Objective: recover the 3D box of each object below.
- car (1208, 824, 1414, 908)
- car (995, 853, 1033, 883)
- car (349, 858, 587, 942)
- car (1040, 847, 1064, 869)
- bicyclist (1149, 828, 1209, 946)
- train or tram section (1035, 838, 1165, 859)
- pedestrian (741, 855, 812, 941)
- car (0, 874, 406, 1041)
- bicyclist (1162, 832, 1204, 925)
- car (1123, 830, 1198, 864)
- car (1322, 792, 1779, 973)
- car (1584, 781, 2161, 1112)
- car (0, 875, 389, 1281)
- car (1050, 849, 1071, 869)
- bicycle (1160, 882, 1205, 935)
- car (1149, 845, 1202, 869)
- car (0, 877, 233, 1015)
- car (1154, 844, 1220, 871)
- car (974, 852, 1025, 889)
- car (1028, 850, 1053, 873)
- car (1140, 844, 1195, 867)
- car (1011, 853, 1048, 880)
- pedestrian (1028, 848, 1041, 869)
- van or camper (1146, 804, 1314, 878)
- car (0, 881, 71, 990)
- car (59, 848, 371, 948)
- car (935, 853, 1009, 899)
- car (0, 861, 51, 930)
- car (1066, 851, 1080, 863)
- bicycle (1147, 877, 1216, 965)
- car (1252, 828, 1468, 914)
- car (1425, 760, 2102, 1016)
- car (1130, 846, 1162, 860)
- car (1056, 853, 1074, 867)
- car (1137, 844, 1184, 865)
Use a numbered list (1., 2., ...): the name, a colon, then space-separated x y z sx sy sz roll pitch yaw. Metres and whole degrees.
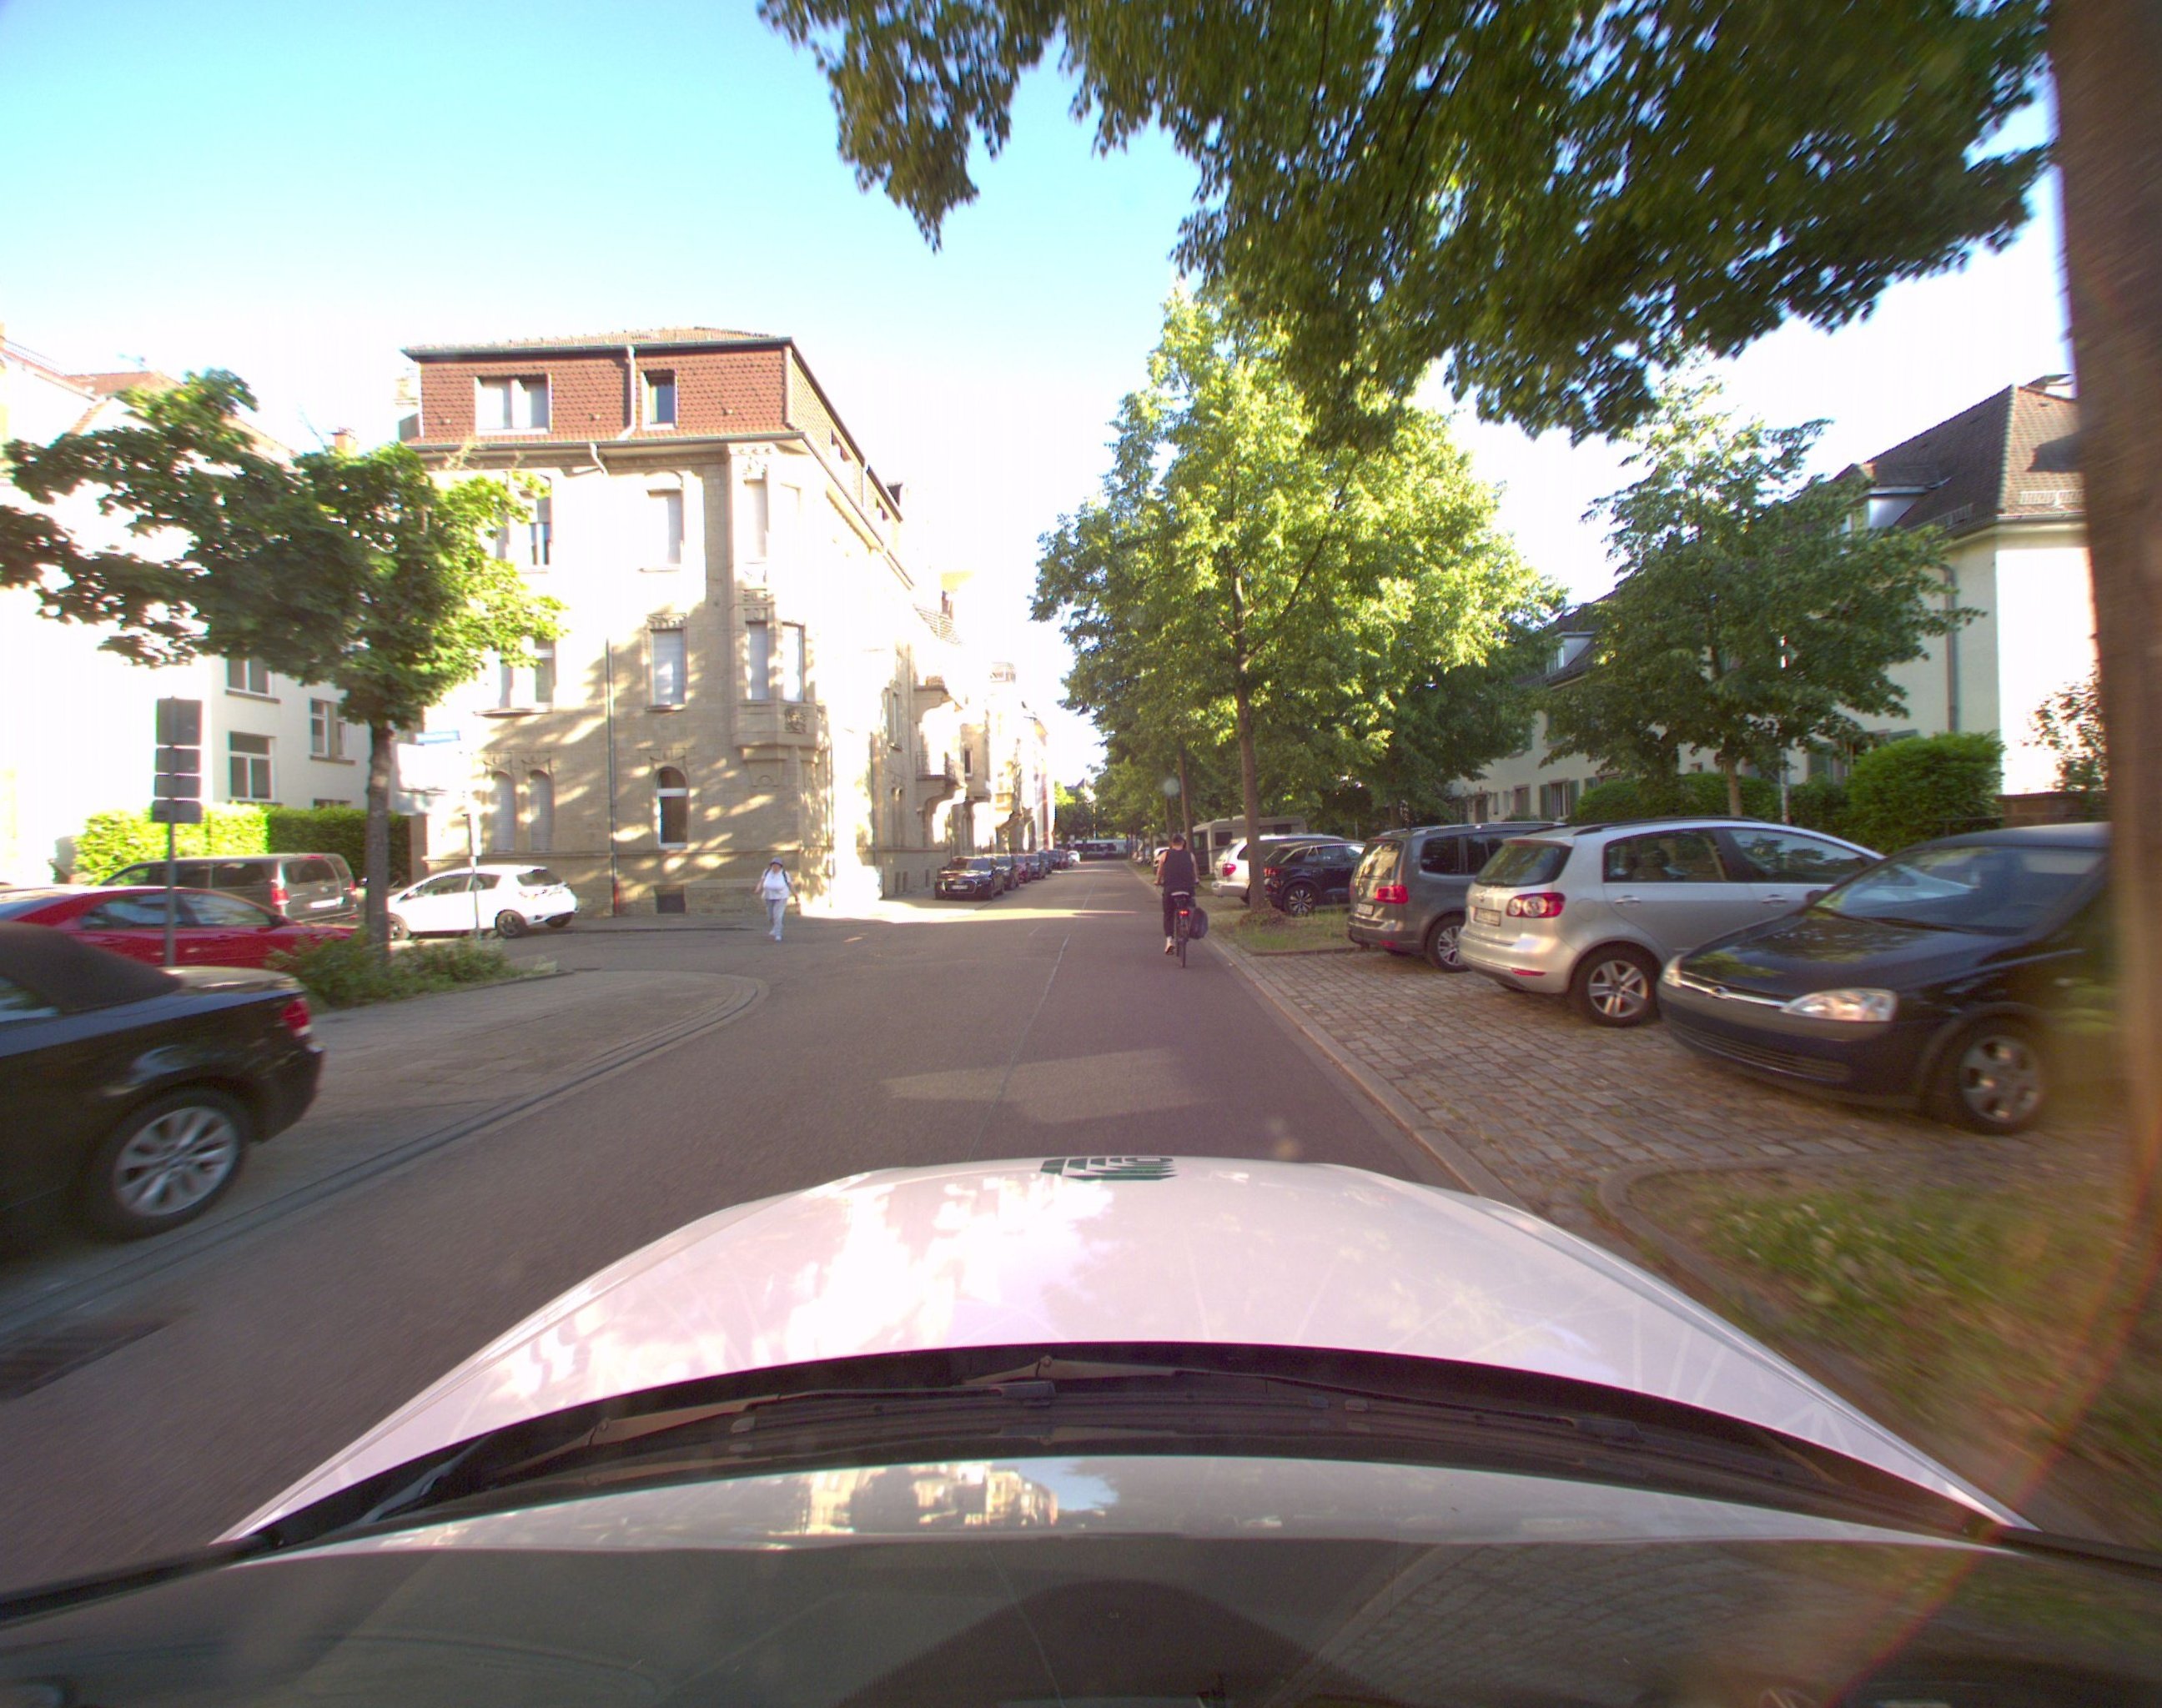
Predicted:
1. car: 5.592 0.282 20.258 4.600 1.709 1.835 -3 0 3
2. car: -3.399 0.676 41.822 1.624 1.453 3.837 0 0 0
3. car: -13.337 0.974 17.891 3.784 1.550 1.719 -2 3 -1
4. car: -2.468 0.306 69.946 1.634 1.783 4.357 1 1 3
5. bicyclist: 1.333 0.444 11.183 0.727 1.547 0.884 0 -1 1
6. train or tram section: 3.608 -0.985 147.790 23.889 3.708 4.256 0 -1 -21
7. pedestrian: -5.964 0.840 15.994 0.884 1.577 1.054 -3 1 2
8. car: -10.863 1.029 9.696 1.629 1.468 4.660 -1 0 2
9. bicyclist: 1.842 0.428 14.789 0.686 1.626 0.999 1 0 3
10. car: 7.942 -0.678 81.804 7.126 2.978 2.463 -3 0 -1
11. car: 5.532 0.298 9.942 4.530 1.633 1.810 -5 0 -4
12. car: 5.348 0.394 4.796 3.708 1.453 1.589 -5 0 1
13. car: -4.758 0.833 2.372 1.629 1.410 4.335 1 0 2
14. car: -1.943 0.436 76.924 1.682 1.825 4.276 1 1 2
15. bicycle: 1.806 0.960 14.714 0.631 0.799 1.833 -2 0 2
16. car: 7.010 0.244 60.680 3.757 1.600 1.692 -2 -2 3
17. car: -13.684 1.163 10.132 1.706 1.550 4.214 -2 0 2
18. car: 7.072 0.229 54.535 4.205 1.600 1.692 -2 -2 3
19. car: -3.431 0.680 34.741 1.690 1.453 4.028 -1 -1 1
20. car: -2.809 0.491 56.881 1.590 1.489 2.737 2 1 0
21. car: 6.650 0.139 63.042 4.121 1.600 1.704 -2 -2 3
22. car: -2.961 0.669 47.481 1.669 1.430 4.553 1 1 3
23. pedestrian: -3.777 0.384 66.368 0.934 1.742 0.735 0 -1 2
24. van or camper: 6.606 -0.568 37.003 7.116 2.647 2.467 -5 0 3
25. car: -16.179 1.181 10.353 1.706 1.512 3.917 -2 0 2
26. car: -18.919 0.916 17.974 4.698 1.866 1.867 -2 3 -1
27. car: -3.733 0.715 28.700 1.804 1.427 4.900 1 0 2
28. car: -25.622 0.985 17.852 3.877 1.473 1.602 -2 3 -1
29. car: -1.024 0.370 105.371 1.577 1.375 4.134 1 1 3
30. bicycle: 1.327 0.865 11.109 0.735 1.054 1.956 0 -1 1
31. car: 5.919 0.337 17.640 4.051 1.476 1.695 -5 1 2
32. car: 5.511 0.274 7.079 4.252 1.633 1.693 -5 0 5
33. car: 8.262 -0.078 104.137 3.975 1.803 1.833 0 -1 -1
34. car: -1.712 0.618 87.853 1.577 1.343 4.134 1 1 3
35. car: 7.246 0.047 74.524 4.070 1.650 1.641 -4 0 0
